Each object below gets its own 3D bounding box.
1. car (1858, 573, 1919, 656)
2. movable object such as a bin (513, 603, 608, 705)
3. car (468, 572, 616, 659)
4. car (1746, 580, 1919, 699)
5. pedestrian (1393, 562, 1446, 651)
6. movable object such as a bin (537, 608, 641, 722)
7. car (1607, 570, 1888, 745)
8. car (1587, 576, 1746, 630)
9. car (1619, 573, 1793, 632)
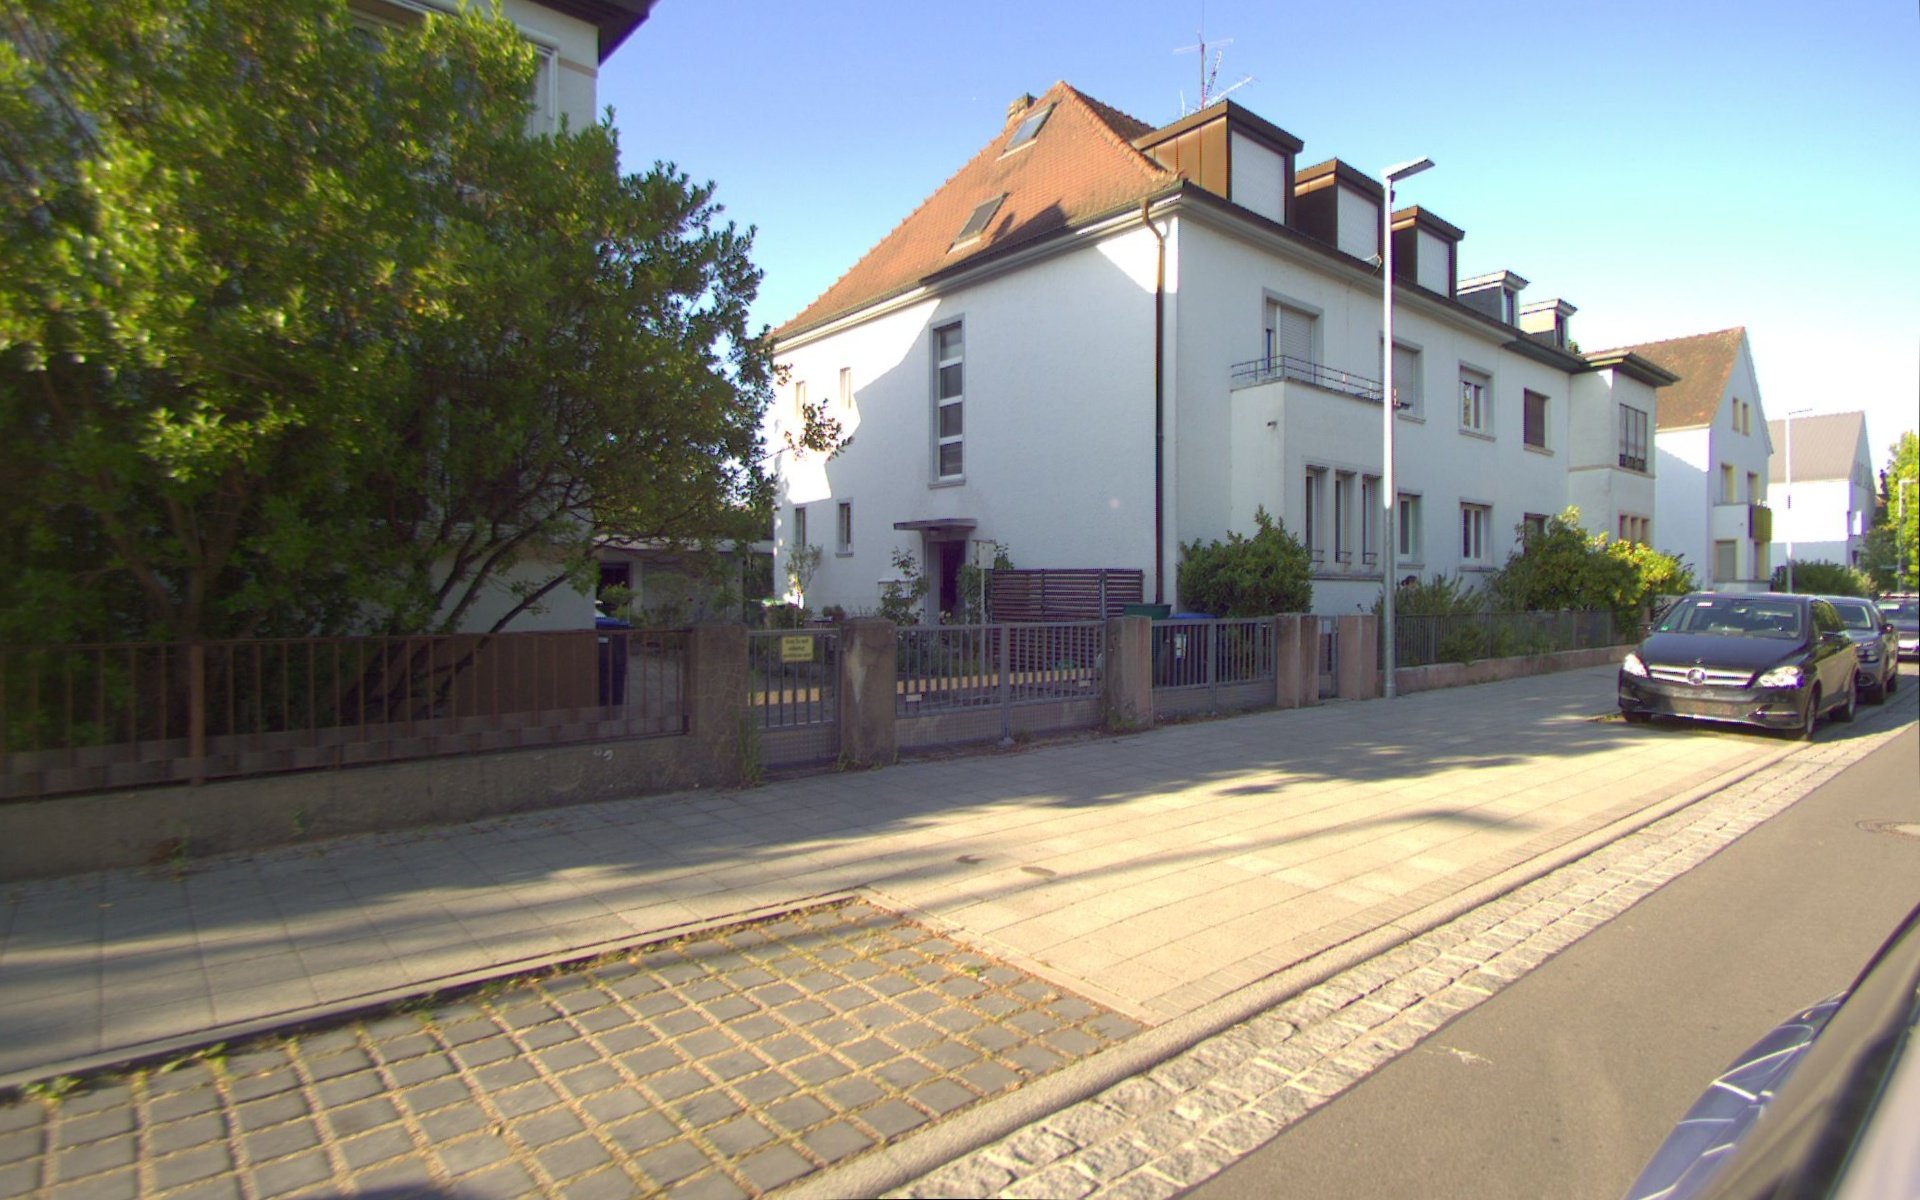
[{"bbox_3d":[22.481,0.306,23.539,4.394,1.793,1.797,0,2,-41],"label":"car"},{"bbox_3d":[-4.706,0.603,11.890,0.775,1.114,1.087,-1,-1,-37],"label":"movable object such as a bin"},{"bbox_3d":[-8.406,0.236,20.145,1.838,1.527,4.159,-1,1,-35],"label":"car"},{"bbox_3d":[13.958,0.511,16.090,4.141,1.593,1.719,-1,3,-44],"label":"car"},{"bbox_3d":[8.463,0.122,18.647,0.617,1.598,0.598,-1,-1,-14],"label":"pedestrian"},{"bbox_3d":[-3.932,0.656,10.699,0.775,1.114,0.987,-1,-1,-37],"label":"movable object such as a bin"},{"bbox_3d":[9.701,0.523,12.342,4.338,1.705,1.836,-1,4,-41],"label":"car"},{"bbox_3d":[24.474,0.108,35.148,1.822,1.748,4.220,-1,0,-43],"label":"car"},{"bbox_3d":[23.715,0.034,32.263,1.822,1.747,4.221,-1,1,-43],"label":"car"}]
